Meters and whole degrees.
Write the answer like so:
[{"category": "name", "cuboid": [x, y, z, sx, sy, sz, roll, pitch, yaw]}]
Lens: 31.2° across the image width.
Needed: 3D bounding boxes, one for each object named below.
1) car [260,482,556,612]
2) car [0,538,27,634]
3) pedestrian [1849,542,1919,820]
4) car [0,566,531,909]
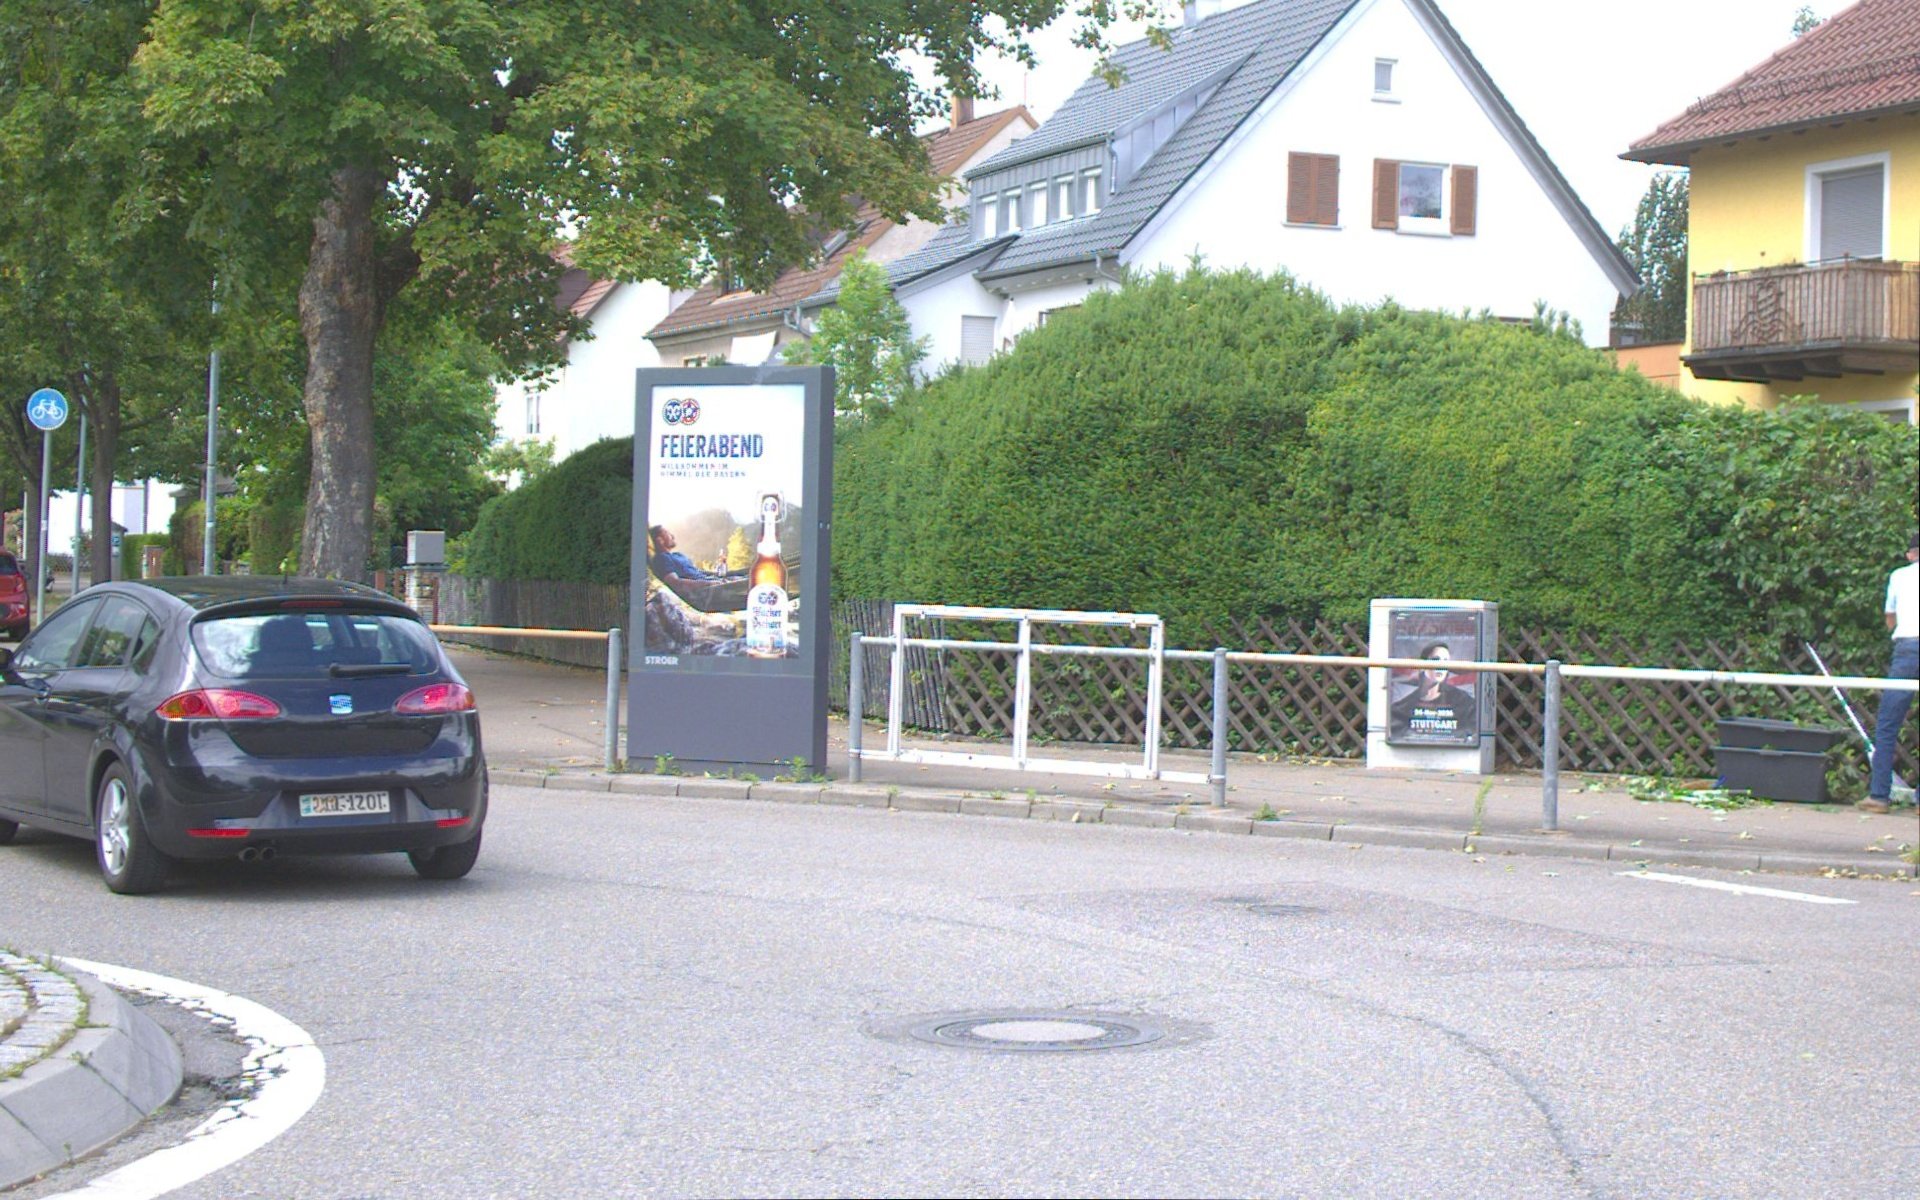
[{"category": "car", "cuboid": [-11.444, -1.103, 71.323, 5.712, 2.583, 1.998, 0, 2, -23]}, {"category": "car", "cuboid": [-15.512, -0.233, 53.695, 1.564, 1.450, 3.669, 1, 0, -19]}, {"category": "pedestrian", "cuboid": [5.766, 0.484, 20.758, 0.653, 1.651, 0.593, 2, 1, 23]}, {"category": "car", "cuboid": [-3.660, 0.576, 16.927, 1.819, 1.433, 3.740, 0, 1, -29]}]
